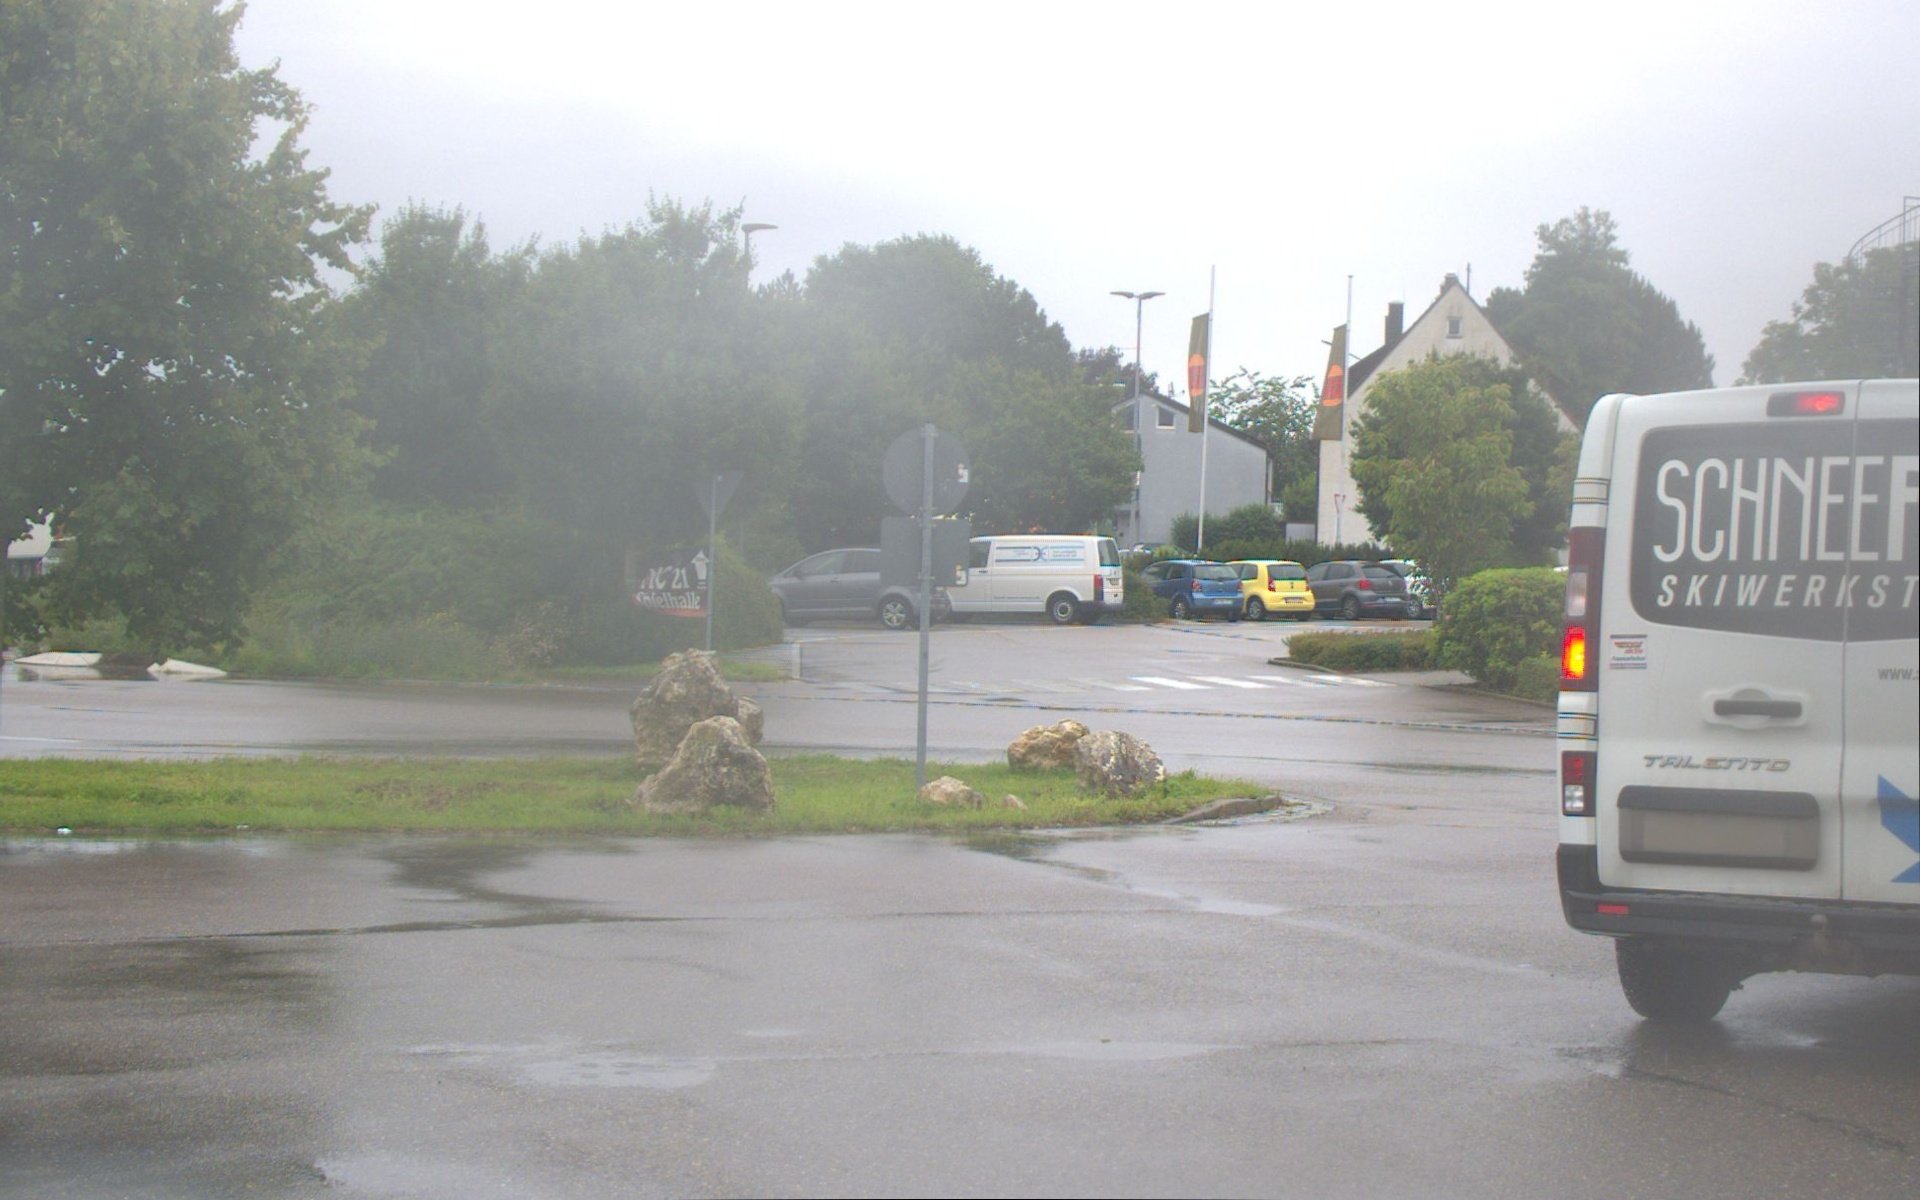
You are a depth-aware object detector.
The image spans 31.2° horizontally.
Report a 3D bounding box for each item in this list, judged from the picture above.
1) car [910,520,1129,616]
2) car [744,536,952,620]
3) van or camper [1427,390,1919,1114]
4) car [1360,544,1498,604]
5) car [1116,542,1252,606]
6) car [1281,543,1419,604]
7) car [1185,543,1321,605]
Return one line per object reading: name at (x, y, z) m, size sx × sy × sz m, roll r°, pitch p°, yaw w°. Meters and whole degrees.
car at (1.307, -0.714, 75.685) m, size 4.524 × 2.026 × 1.643 m, roll 1°, pitch 1°, yaw 18°
car at (-2.160, -0.447, 66.409) m, size 3.735 × 1.545 × 1.449 m, roll 1°, pitch 1°, yaw 18°
van or camper at (3.715, 0.388, 11.580) m, size 2.192 × 1.938 × 5.187 m, roll 2°, pitch 2°, yaw 33°
car at (11.756, -0.666, 86.352) m, size 1.580 × 1.453 × 3.681 m, roll 0°, pitch 1°, yaw -28°
car at (5.339, -0.638, 82.306) m, size 1.551 × 1.453 × 3.681 m, roll 0°, pitch 1°, yaw -28°
car at (9.655, -0.663, 85.252) m, size 1.580 × 1.453 × 3.681 m, roll 0°, pitch 1°, yaw -28°
car at (7.155, -0.659, 84.225) m, size 1.580 × 1.453 × 3.681 m, roll 0°, pitch 1°, yaw -28°
